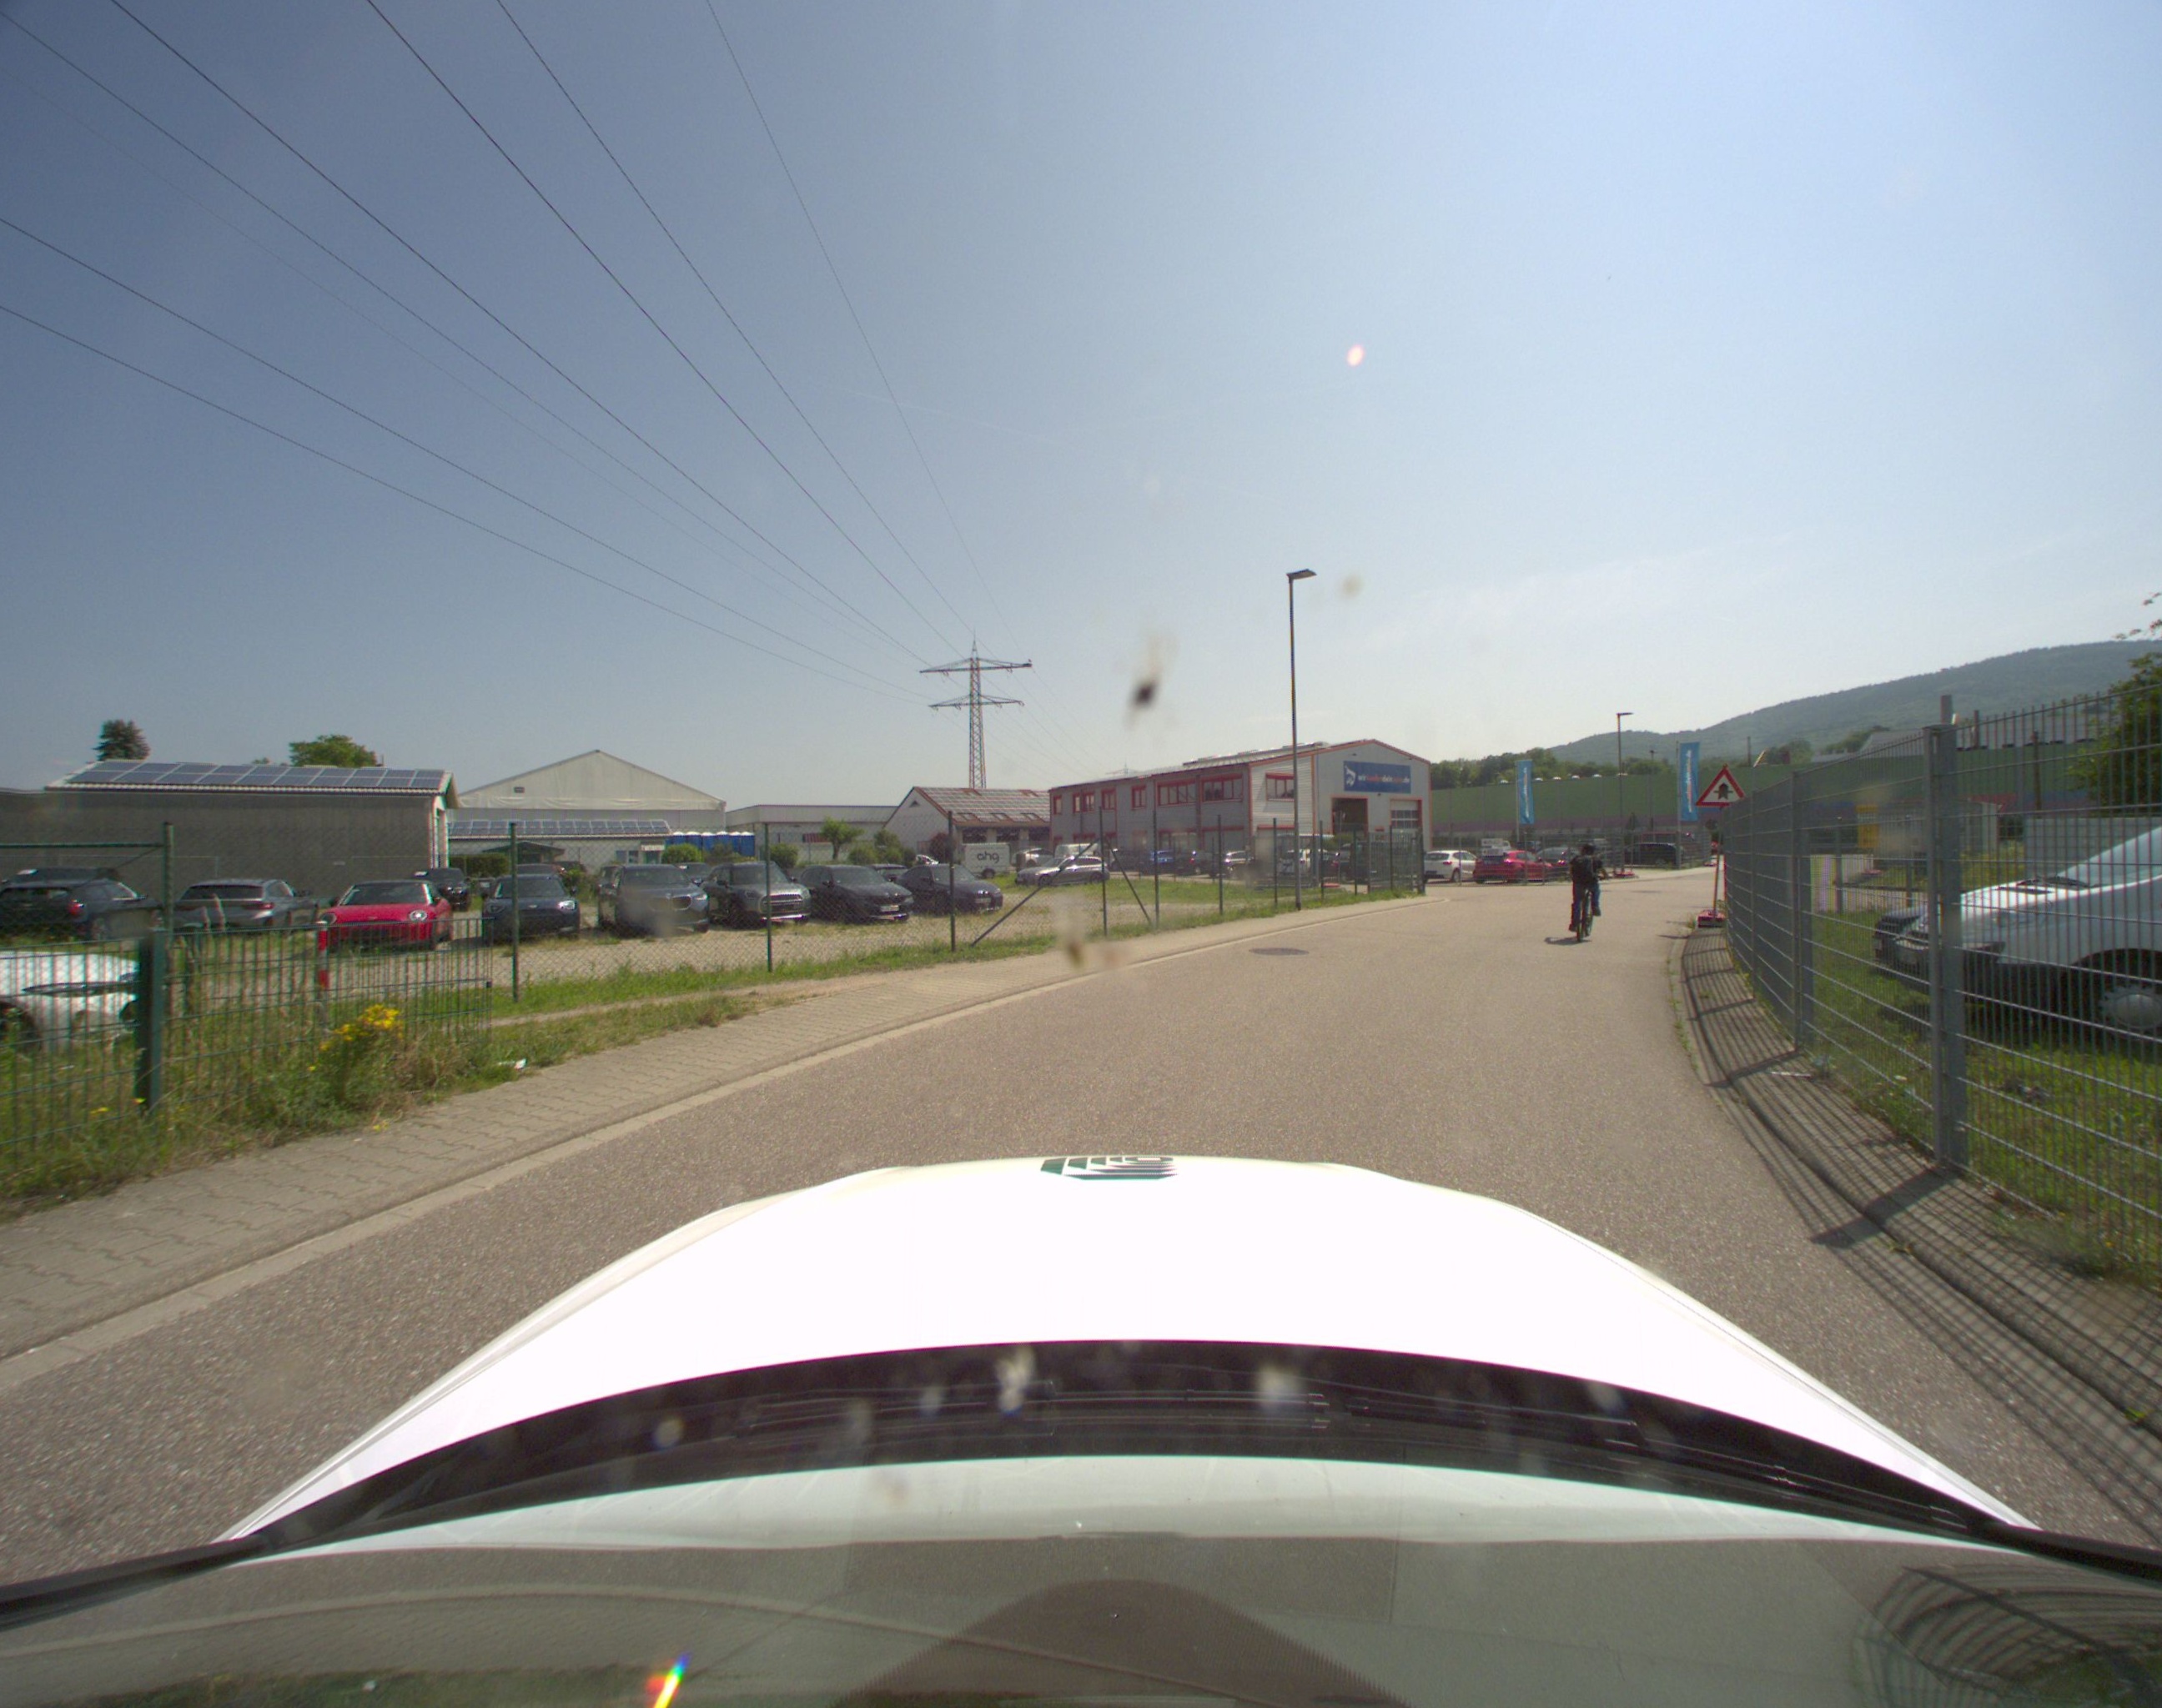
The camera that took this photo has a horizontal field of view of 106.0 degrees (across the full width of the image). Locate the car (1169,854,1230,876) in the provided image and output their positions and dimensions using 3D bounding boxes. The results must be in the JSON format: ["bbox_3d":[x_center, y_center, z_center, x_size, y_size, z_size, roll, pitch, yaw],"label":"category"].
[{"bbox_3d":[7.116,0.642,48.785,3.619,1.151,1.491,-2,0,-36],"label":"car"}]

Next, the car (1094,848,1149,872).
[{"bbox_3d":[2.833,0.405,56.361,3.619,1.544,1.491,-2,0,-36],"label":"car"}]

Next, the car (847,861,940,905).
[{"bbox_3d":[-6.861,0.993,29.505,2.008,1.435,4.378,-1,0,-31],"label":"car"}]

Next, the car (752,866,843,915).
[{"bbox_3d":[-9.628,1.167,27.487,2.007,1.420,3.959,-2,0,-33],"label":"car"}]

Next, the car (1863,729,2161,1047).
[{"bbox_3d":[9.099,0.190,5.453,5.274,2.149,1.919,-1,0,33],"label":"car"}]

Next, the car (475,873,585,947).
[{"bbox_3d":[-12.431,1.172,18.390,1.876,1.433,3.609,-1,0,-35],"label":"car"}]

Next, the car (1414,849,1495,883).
[{"bbox_3d":[16.964,0.520,36.941,3.619,1.405,1.732,-2,0,-36],"label":"car"}]

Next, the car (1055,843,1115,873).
[{"bbox_3d":[0.278,0.275,57.850,3.924,1.978,1.803,-2,0,-36],"label":"car"}]

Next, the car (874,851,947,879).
[{"bbox_3d":[-10.535,0.651,50.310,4.015,1.598,1.857,-1,0,-33],"label":"car"}]

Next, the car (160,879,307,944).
[{"bbox_3d":[-19.883,1.287,19.274,1.877,1.298,3.402,-1,0,-37],"label":"car"}]

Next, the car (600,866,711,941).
[{"bbox_3d":[-10.259,1.099,19.511,1.876,1.561,3.657,-1,0,-35],"label":"car"}]

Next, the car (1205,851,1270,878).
[{"bbox_3d":[8.844,0.580,45.940,3.619,1.381,1.491,-2,0,-36],"label":"car"}]

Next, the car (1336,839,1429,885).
[{"bbox_3d":[14.398,0.334,38.859,4.537,2.030,1.935,-2,0,-36],"label":"car"}]

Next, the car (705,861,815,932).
[{"bbox_3d":[-8.492,1.050,21.374,1.876,1.644,3.594,-1,0,-35],"label":"car"}]

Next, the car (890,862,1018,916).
[{"bbox_3d":[-3.990,0.996,24.886,2.010,1.435,4.615,-1,0,-35],"label":"car"}]

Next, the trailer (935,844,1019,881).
[{"bbox_3d":[-5.937,0.443,46.526,4.463,1.945,1.703,-2,0,-20],"label":"trailer"}]

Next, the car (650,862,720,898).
[{"bbox_3d":[-17.237,1.086,35.348,2.010,1.435,4.615,-1,0,-35],"label":"car"}]

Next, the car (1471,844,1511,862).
[{"bbox_3d":[39.385,-0.121,78.293,4.016,1.657,1.686,-2,0,-35],"label":"car"}]

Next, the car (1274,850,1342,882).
[{"bbox_3d":[11.908,0.587,42.607,3.619,1.540,1.491,-2,0,-36],"label":"car"}]

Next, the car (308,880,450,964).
[{"bbox_3d":[-14.440,1.311,16.942,1.876,1.453,3.404,-1,0,-35],"label":"car"}]

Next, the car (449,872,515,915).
[{"bbox_3d":[-22.542,1.437,30.769,1.876,1.433,4.554,-1,0,-35],"label":"car"}]

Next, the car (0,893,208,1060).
[{"bbox_3d":[-10.728,1.097,6.660,4.581,1.307,1.848,-1,0,-35],"label":"car"}]

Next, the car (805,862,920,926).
[{"bbox_3d":[-6.071,1.026,22.412,1.876,1.554,3.729,-1,0,-35],"label":"car"}]

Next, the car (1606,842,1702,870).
[{"bbox_3d":[32.383,0.103,46.129,2.007,1.492,3.960,-2,0,-32],"label":"car"}]

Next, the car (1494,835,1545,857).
[{"bbox_3d":[33.910,-0.610,63.009,4.019,1.581,1.977,-2,0,-37],"label":"car"}]

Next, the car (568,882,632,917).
[{"bbox_3d":[-19.344,1.766,32.666,1.876,1.175,4.554,-1,0,-35],"label":"car"}]

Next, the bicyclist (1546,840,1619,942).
[{"bbox_3d":[8.390,0.583,13.607,0.834,1.618,1.045,0,0,44],"label":"bicyclist"}]

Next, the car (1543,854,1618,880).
[{"bbox_3d":[22.957,0.577,37.383,4.131,1.007,1.472,-2,0,-36],"label":"car"}]

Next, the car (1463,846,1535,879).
[{"bbox_3d":[20.382,0.396,39.670,3.911,1.454,1.472,-2,0,-36],"label":"car"}]

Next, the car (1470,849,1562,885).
[{"bbox_3d":[18.626,0.524,34.819,4.131,1.386,1.855,-2,0,-36],"label":"car"}]

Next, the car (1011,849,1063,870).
[{"bbox_3d":[-3.426,0.409,63.863,3.924,1.516,1.491,-2,0,-36],"label":"car"}]

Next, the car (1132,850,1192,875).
[{"bbox_3d":[5.047,0.507,50.663,3.619,1.416,1.491,-2,0,-36],"label":"car"}]

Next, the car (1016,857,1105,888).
[{"bbox_3d":[-0.897,0.839,37.828,4.160,1.261,1.222,-2,0,-36],"label":"car"}]

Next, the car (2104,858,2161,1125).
[{"bbox_3d":[7.181,0.669,2.862,4.155,1.357,1.626,-1,0,27],"label":"car"}]

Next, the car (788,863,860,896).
[{"bbox_3d":[-12.451,1.205,39.298,2.010,1.435,4.615,-1,0,-35],"label":"car"}]

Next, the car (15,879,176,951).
[{"bbox_3d":[-22.453,1.314,18.715,1.879,1.414,3.399,-1,0,-42],"label":"car"}]

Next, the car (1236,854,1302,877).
[{"bbox_3d":[10.321,0.624,44.613,3.619,1.151,1.491,-2,0,-36],"label":"car"}]

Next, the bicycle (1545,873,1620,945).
[{"bbox_3d":[8.393,0.877,13.595,0.678,1.051,1.912,0,1,43],"label":"bicycle"}]
